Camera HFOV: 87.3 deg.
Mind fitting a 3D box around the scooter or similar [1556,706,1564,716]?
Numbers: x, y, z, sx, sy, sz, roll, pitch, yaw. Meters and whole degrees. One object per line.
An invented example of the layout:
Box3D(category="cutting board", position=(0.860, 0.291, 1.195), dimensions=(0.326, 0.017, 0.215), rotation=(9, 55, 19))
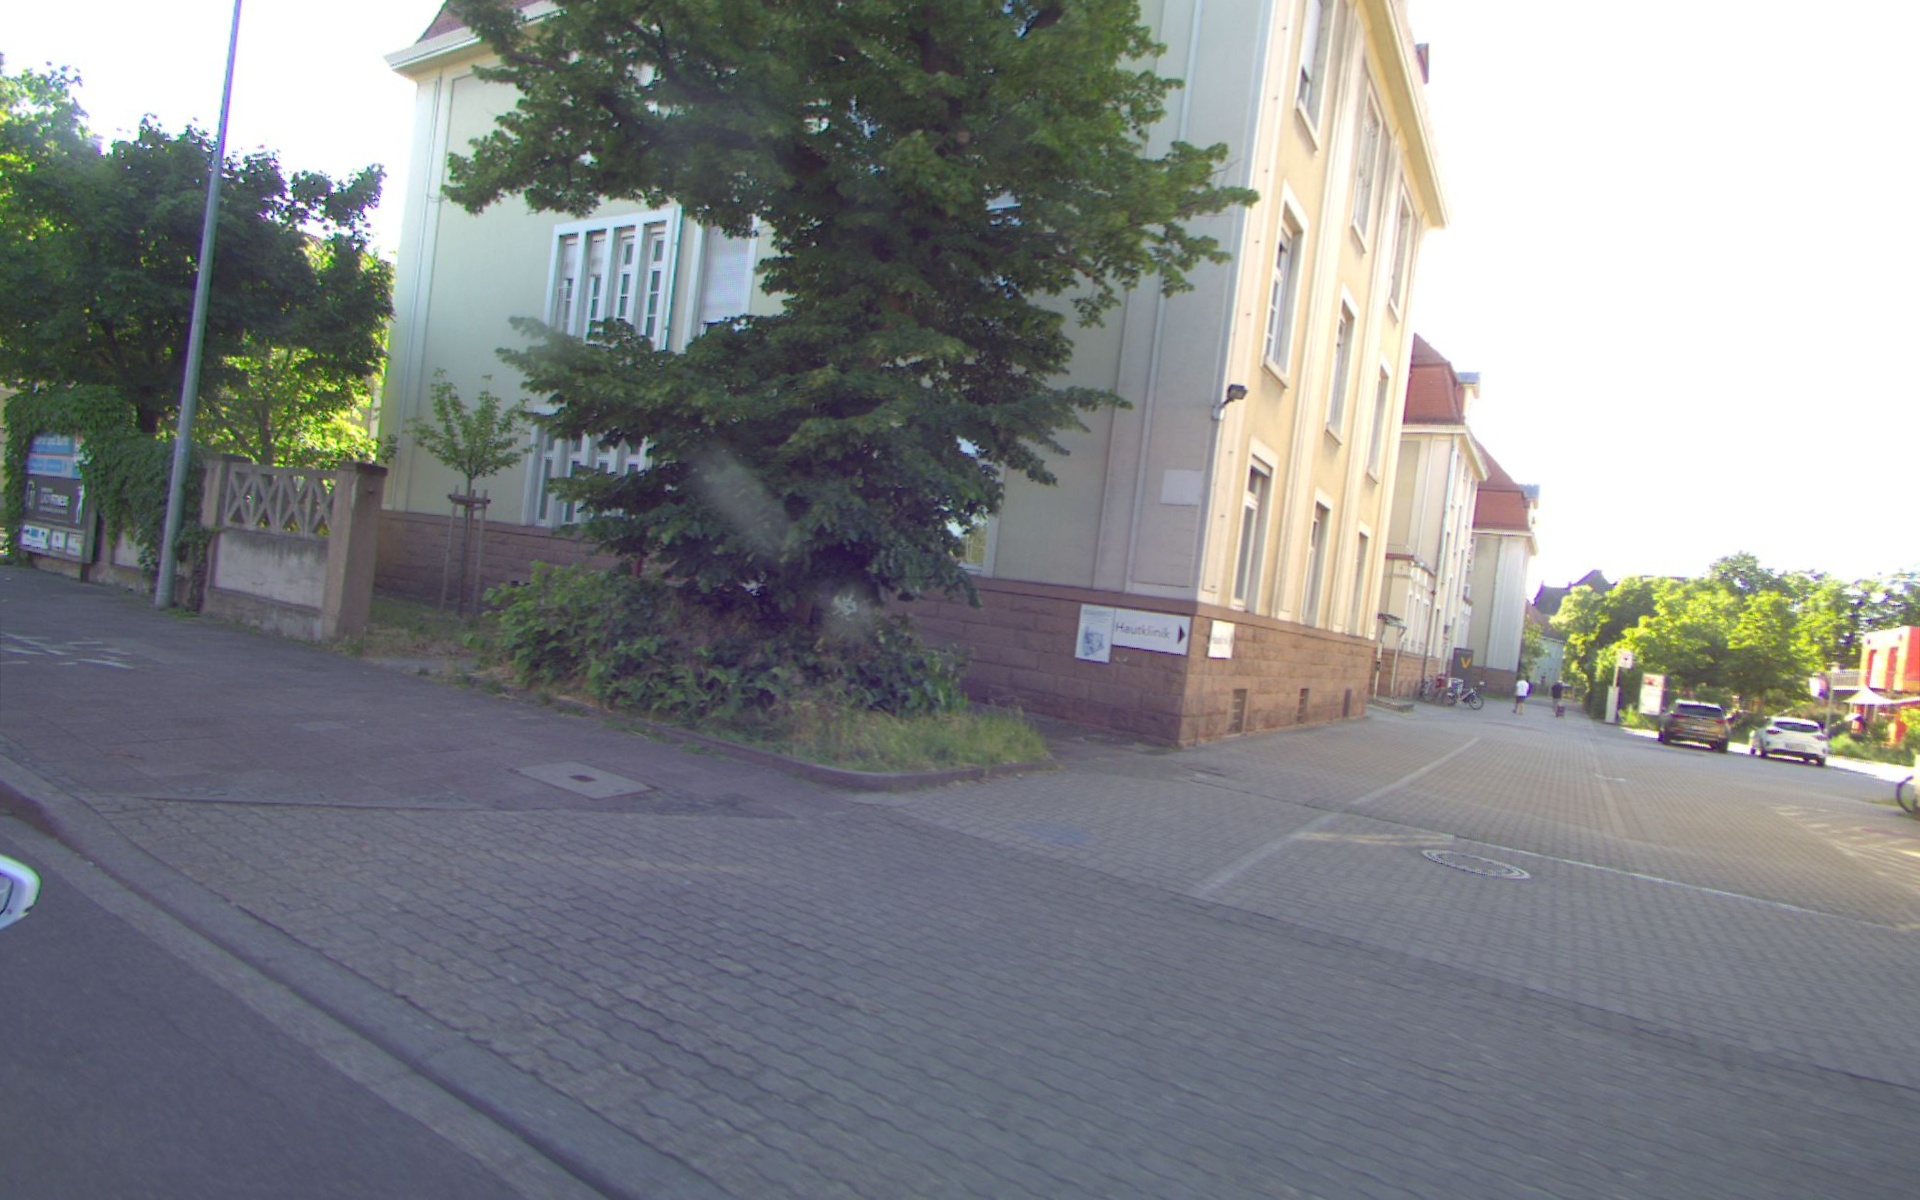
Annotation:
Box3D(category="scooter or similar", position=(29.134, 5.403, 48.856), dimensions=(0.289, 0.417, 0.269), rotation=(7, 1, 30))

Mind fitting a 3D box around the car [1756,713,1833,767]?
Box3D(category="car", position=(28.178, 4.685, 33.924), dimensions=(1.764, 1.418, 3.430), rotation=(7, 0, 42))

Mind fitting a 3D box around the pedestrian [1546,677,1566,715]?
Box3D(category="pedestrian", position=(29.313, 4.719, 49.513), dimensions=(0.631, 1.739, 0.491), rotation=(7, 1, 30))

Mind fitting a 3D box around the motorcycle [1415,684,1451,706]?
Box3D(category="motorcycle", position=(21.244, 4.268, 45.227), dimensions=(1.372, 0.795, 0.322), rotation=(7, -1, 30))

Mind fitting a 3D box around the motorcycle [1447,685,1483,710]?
Box3D(category="motorcycle", position=(23.130, 4.449, 46.097), dimensions=(1.372, 0.930, 0.322), rotation=(7, -1, 30))

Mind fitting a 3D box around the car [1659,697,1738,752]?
Box3D(category="car", position=(25.871, 4.350, 35.214), dimensions=(1.764, 1.575, 3.430), rotation=(7, 0, 42))

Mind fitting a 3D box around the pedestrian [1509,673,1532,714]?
Box3D(category="pedestrian", position=(25.743, 4.287, 46.172), dimensions=(0.725, 1.739, 0.586), rotation=(7, 1, 30))
